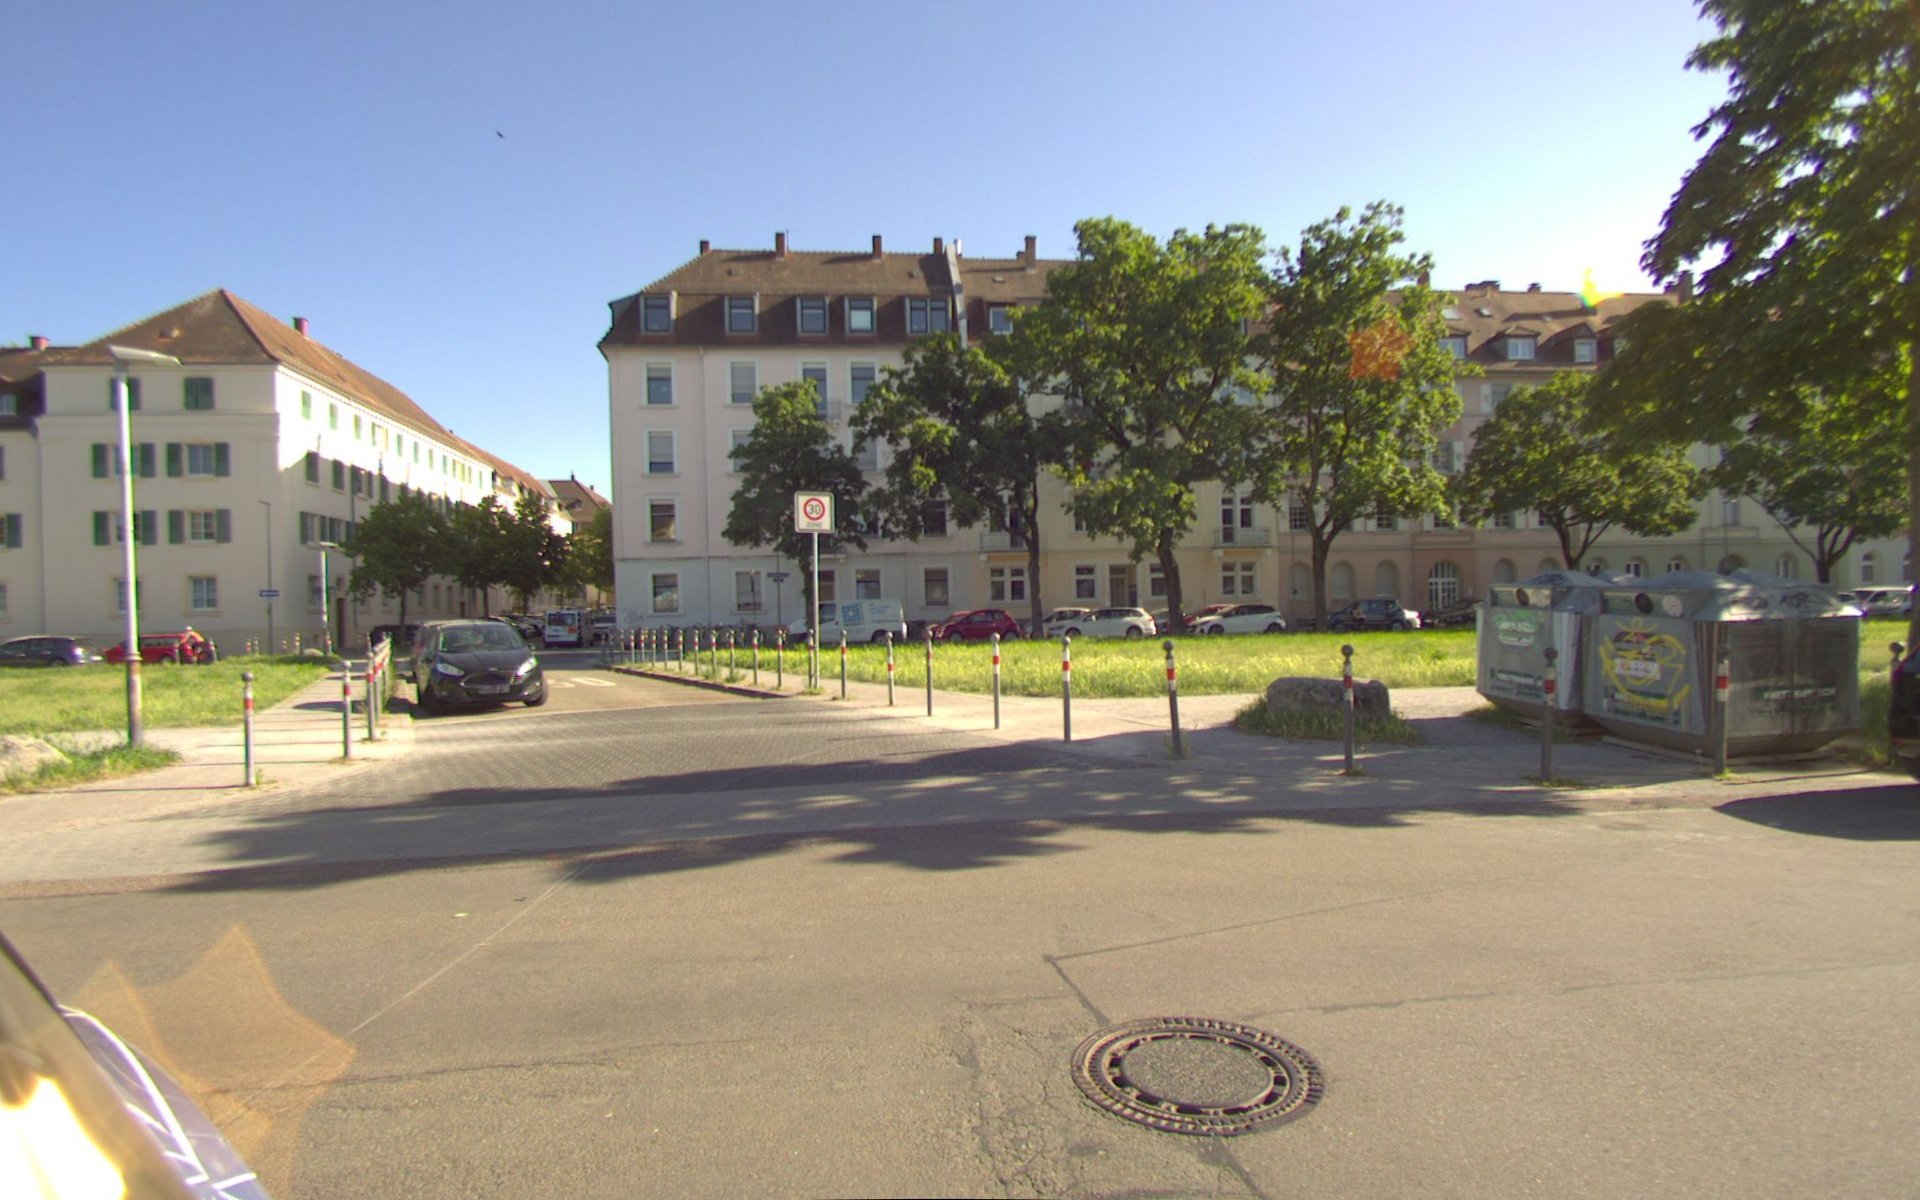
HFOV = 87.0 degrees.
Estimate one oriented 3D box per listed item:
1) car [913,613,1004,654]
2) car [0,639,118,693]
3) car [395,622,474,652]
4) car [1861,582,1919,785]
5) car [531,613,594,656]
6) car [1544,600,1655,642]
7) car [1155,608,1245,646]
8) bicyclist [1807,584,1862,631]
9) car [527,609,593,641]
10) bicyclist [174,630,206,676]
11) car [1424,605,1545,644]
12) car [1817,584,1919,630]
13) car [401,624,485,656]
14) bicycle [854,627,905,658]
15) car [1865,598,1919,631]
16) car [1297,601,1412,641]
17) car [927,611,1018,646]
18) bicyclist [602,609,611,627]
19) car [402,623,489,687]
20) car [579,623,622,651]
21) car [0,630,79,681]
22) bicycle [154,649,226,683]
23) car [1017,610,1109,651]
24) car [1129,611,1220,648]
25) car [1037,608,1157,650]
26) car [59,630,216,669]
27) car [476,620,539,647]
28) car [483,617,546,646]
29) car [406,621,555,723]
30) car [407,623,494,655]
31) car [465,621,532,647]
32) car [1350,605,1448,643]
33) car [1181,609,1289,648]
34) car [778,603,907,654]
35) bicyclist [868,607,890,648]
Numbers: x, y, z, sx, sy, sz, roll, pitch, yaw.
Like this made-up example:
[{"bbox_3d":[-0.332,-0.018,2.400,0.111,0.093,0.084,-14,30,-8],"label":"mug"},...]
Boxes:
[{"bbox_3d":[-0.112,1.549,47.375,3.992,1.765,2.003,-1,-1,-6],"label":"car"},{"bbox_3d":[-34.646,2.456,37.674,4.630,1.834,2.169,-1,-1,-8],"label":"car"},{"bbox_3d":[-29.441,2.045,56.766,3.557,1.532,1.712,-1,-1,-10],"label":"car"},{"bbox_3d":[8.754,0.537,6.821,3.856,1.436,1.756,-1,-3,-5],"label":"car"},{"bbox_3d":[-20.246,1.706,51.754,2.106,2.029,4.586,-1,-1,-10],"label":"car"},{"bbox_3d":[28.299,0.914,44.810,4.016,1.699,1.640,-1,-1,-9],"label":"car"},{"bbox_3d":[10.873,1.217,45.952,3.536,1.614,1.784,-1,-1,-7],"label":"car"},{"bbox_3d":[35.843,0.315,41.495,1.426,1.851,0.946,-1,-2,-8],"label":"bicyclist"},{"bbox_3d":[-33.997,2.104,86.129,4.875,2.538,1.960,-1,-1,-10],"label":"car"},{"bbox_3d":[-31.601,2.172,41.523,0.789,1.816,0.676,-1,-1,-7],"label":"bicyclist"},{"bbox_3d":[22.866,1.049,44.219,4.455,1.561,1.765,-1,-1,-9],"label":"car"},{"bbox_3d":[47.531,0.360,52.795,4.393,2.276,1.785,-1,-1,-8],"label":"car"},{"bbox_3d":[-27.599,2.116,54.103,3.609,1.533,1.716,-1,-1,-8],"label":"car"},{"bbox_3d":[-3.464,1.830,43.524,2.120,1.268,0.716,-1,-1,-7],"label":"bicycle"},{"bbox_3d":[43.960,0.665,46.654,3.290,1.451,1.386,-1,-1,-5],"label":"car"},{"bbox_3d":[16.848,0.893,43.279,4.285,1.561,1.640,-1,-1,-9],"label":"car"},{"bbox_3d":[0.486,1.166,41.506,3.469,1.289,1.703,-1,-1,-9],"label":"car"},{"bbox_3d":[-28.966,1.474,82.964,0.525,1.374,0.787,-1,-1,-10],"label":"bicyclist"},{"bbox_3d":[-14.541,1.495,28.478,1.896,1.588,4.361,-1,-1,-30],"label":"car"},{"bbox_3d":[-22.089,2.245,62.303,1.906,1.581,3.891,-1,-1,-11],"label":"car"},{"bbox_3d":[-39.886,2.337,42.678,3.836,2.029,1.673,-1,-1,-7],"label":"car"},{"bbox_3d":[-31.565,2.711,41.520,2.222,1.272,0.846,-1,-1,-7],"label":"bicycle"},{"bbox_3d":[4.856,1.438,47.900,3.937,1.770,1.872,-1,-1,-7],"label":"car"},{"bbox_3d":[10.223,1.398,48.452,3.800,1.627,1.894,-1,-1,-7],"label":"car"},{"bbox_3d":[5.675,1.194,42.130,4.622,1.573,1.703,-1,-1,-9],"label":"car"},{"bbox_3d":[-35.018,2.083,43.196,4.880,1.496,2.003,-1,-2,-7],"label":"car"},{"bbox_3d":[-30.496,2.262,68.286,3.557,1.653,1.836,-1,-1,-10],"label":"car"},{"bbox_3d":[-31.028,2.193,70.635,3.652,1.848,1.961,-1,-1,-10],"label":"car"},{"bbox_3d":[-8.423,1.148,17.548,1.888,1.420,4.361,-3,0,-31],"label":"car"},{"bbox_3d":[-29.657,2.235,58.999,4.174,1.714,1.710,-1,-1,-9],"label":"car"},{"bbox_3d":[-29.886,2.180,65.627,3.557,1.532,1.864,-1,-1,-10],"label":"car"},{"bbox_3d":[21.502,1.161,49.648,3.940,1.714,1.854,-2,-1,-4],"label":"car"},{"bbox_3d":[11.603,1.190,42.861,4.016,1.538,1.703,-1,-1,-9],"label":"car"},{"bbox_3d":[-4.818,1.137,41.262,5.016,1.886,2.092,-1,-1,-9],"label":"car"},{"bbox_3d":[-3.501,1.171,43.534,0.865,1.703,0.633,-2,-1,-7],"label":"bicyclist"}]
